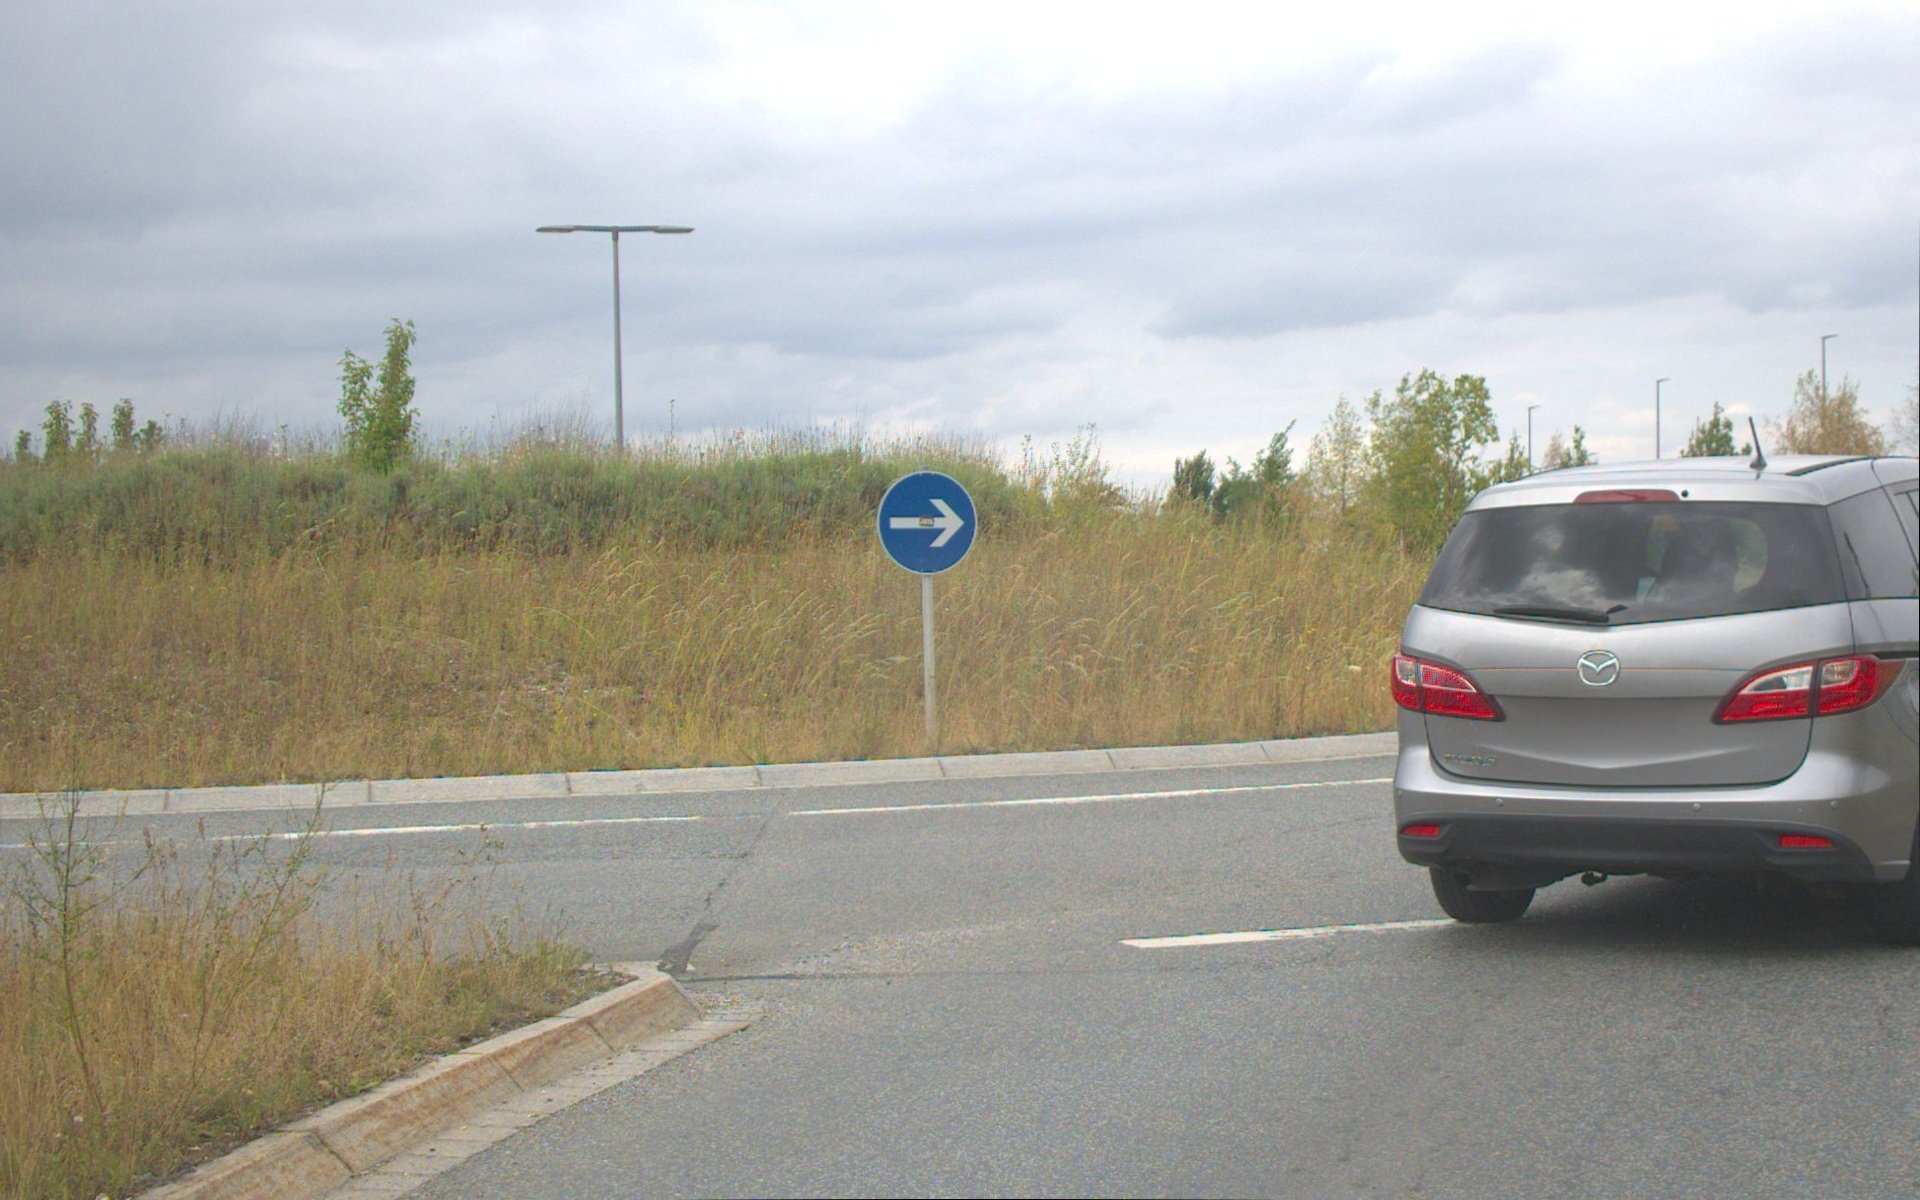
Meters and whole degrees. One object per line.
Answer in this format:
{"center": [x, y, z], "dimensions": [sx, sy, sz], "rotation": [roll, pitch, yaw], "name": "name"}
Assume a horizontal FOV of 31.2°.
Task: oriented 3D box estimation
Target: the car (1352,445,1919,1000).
{"center": [3.014, 0.270, 12.408], "dimensions": [1.741, 1.593, 3.991], "rotation": [2, 4, 30], "name": "car"}
